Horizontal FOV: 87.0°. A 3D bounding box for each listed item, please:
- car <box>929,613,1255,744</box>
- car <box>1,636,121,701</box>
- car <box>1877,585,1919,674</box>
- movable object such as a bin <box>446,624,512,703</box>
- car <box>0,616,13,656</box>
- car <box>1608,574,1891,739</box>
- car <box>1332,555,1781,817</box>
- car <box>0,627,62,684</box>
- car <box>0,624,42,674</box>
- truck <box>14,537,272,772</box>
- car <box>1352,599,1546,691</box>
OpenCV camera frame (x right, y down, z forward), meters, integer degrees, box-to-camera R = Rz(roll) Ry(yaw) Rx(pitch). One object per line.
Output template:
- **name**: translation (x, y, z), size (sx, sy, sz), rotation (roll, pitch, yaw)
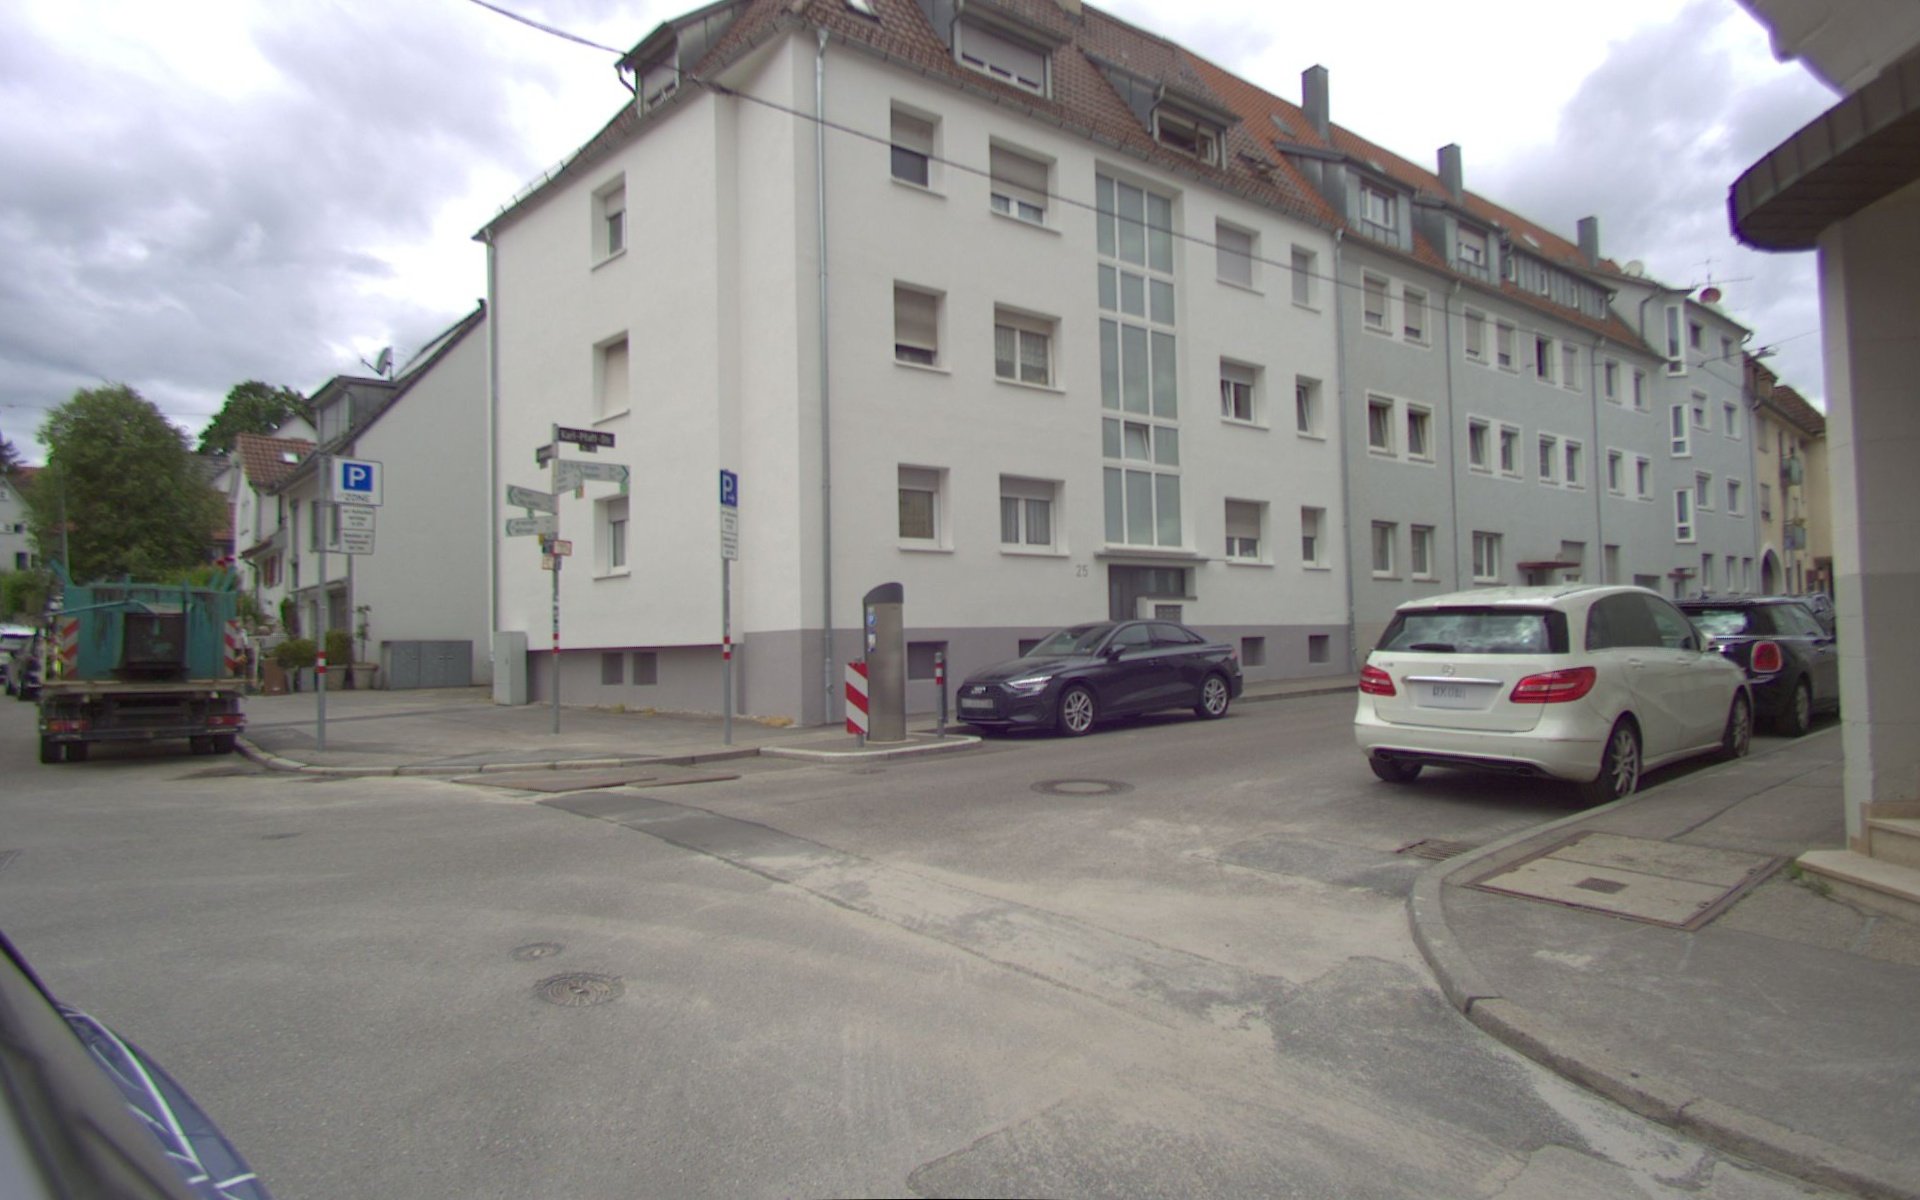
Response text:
- **car**: translation (1.855, 0.960, 13.508), size (4.229, 1.402, 1.829), rotation (-1, -3, -38)
- **car**: translation (-22.305, 1.645, 25.062), size (3.946, 1.475, 1.830), rotation (-2, -4, 43)
- **car**: translation (17.176, 0.446, 17.267), size (3.963, 1.395, 1.676), rotation (-1, 0, -39)
- **movable object such as a bin**: translation (-10.178, 1.325, 21.422), size (0.996, 1.630, 1.003), rotation (2, -3, -43)
- **car**: translation (-41.922, 1.489, 43.162), size (3.944, 1.663, 1.831), rotation (0, -3, 41)
- **car**: translation (9.006, 0.510, 11.432), size (3.963, 1.544, 1.676), rotation (-1, 0, -39)
- **car**: translation (4.944, 0.543, 8.192), size (3.963, 1.611, 1.829), rotation (-1, -2, -39)
- **car**: translation (-28.881, 1.672, 30.881), size (3.946, 1.663, 1.830), rotation (-2, -4, 43)
- **car**: translation (-33.736, 1.673, 35.457), size (3.944, 1.663, 1.831), rotation (0, -3, 41)
- **truck**: translation (-11.644, 0.774, 14.197), size (2.283, 2.571, 6.293), rotation (3, -5, -43)
- **car**: translation (9.066, 0.803, 18.676), size (3.659, 1.500, 1.739), rotation (-1, -3, -38)
